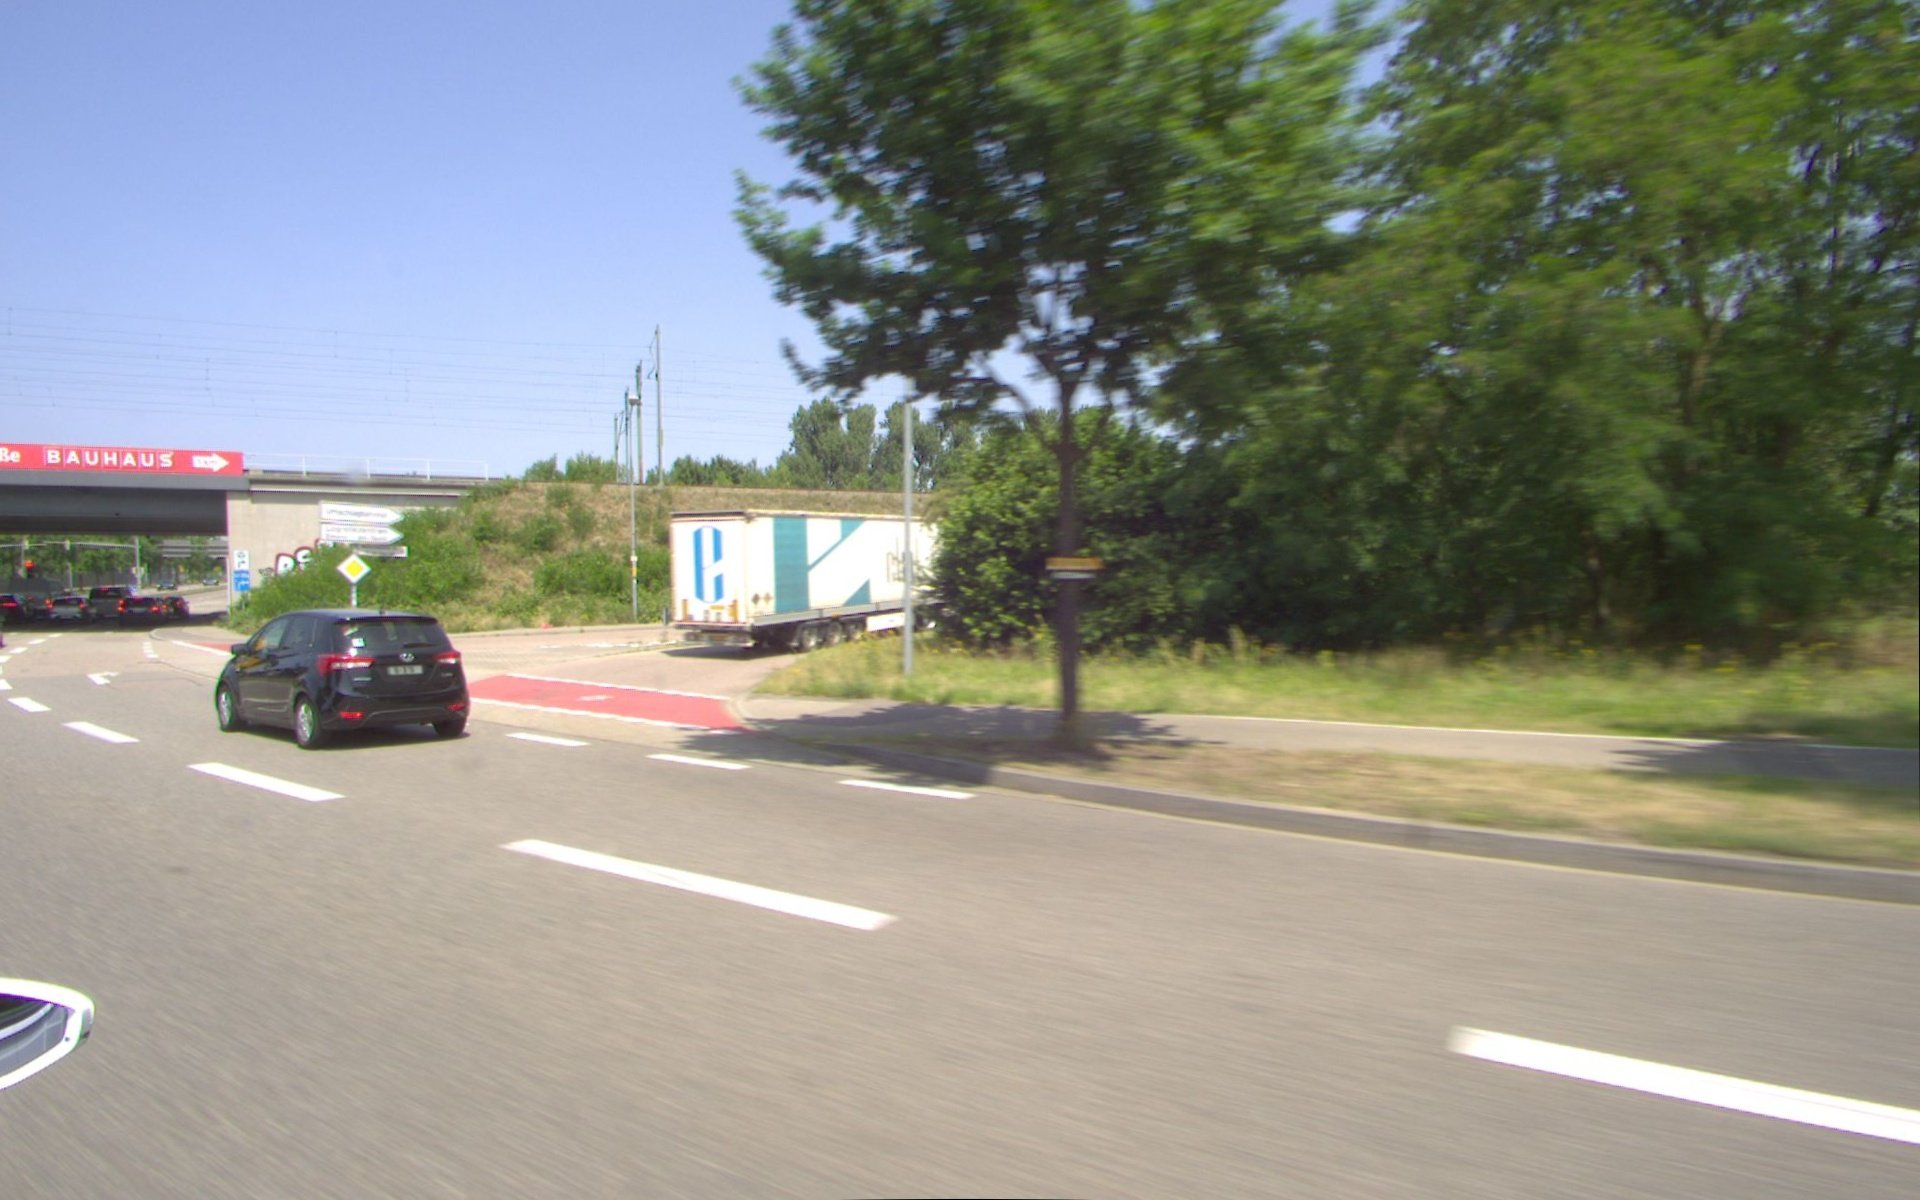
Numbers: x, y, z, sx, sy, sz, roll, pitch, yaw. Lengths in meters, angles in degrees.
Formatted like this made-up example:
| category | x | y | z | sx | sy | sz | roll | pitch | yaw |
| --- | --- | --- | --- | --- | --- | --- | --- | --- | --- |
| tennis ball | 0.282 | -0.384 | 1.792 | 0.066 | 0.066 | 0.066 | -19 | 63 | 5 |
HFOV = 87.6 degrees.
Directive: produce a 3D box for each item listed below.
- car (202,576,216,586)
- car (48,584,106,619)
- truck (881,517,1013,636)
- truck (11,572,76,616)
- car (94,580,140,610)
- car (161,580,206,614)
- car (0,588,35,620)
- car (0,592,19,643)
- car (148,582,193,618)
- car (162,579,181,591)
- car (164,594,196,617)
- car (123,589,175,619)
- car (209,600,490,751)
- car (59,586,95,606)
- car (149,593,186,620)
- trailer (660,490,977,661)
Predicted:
| category | x | y | z | sx | sy | sz | roll | pitch | yaw |
| --- | --- | --- | --- | --- | --- | --- | --- | --- | --- |
| car | -136.600 | -3.461 | 182.121 | 1.836 | 1.644 | 3.973 | 0 | 0 | -35 |
| car | -49.740 | 0.075 | 56.472 | 1.821 | 1.915 | 3.975 | 0 | 0 | -33 |
| truck | -0.396 | -0.989 | 40.607 | 3.034 | 4.429 | 6.057 | 2 | 3 | 24 |
| truck | -56.308 | -0.381 | 61.587 | 2.044 | 2.572 | 3.978 | -2 | 1 | -30 |
| car | -54.765 | -0.304 | 65.122 | 1.822 | 1.915 | 3.974 | 0 | 0 | -34 |
| car | -49.741 | -0.181 | 64.221 | 1.974 | 2.041 | 3.972 | -3 | 2 | -35 |
| car | -52.754 | 0.213 | 55.235 | 1.921 | 1.744 | 3.974 | 0 | 0 | -34 |
| car | -33.030 | 0.552 | 33.433 | 1.940 | 1.655 | 4.246 | 0 | 0 | -38 |
| car | -47.688 | 0.010 | 60.541 | 1.715 | 2.041 | 3.773 | -3 | 2 | -34 |
| car | -114.142 | -2.185 | 144.923 | 1.836 | 1.644 | 3.974 | 0 | 0 | -34 |
| car | -69.111 | 0.472 | 88.762 | 1.974 | 2.040 | 3.973 | -1 | 0 | -34 |
| car | -44.304 | 0.201 | 54.783 | 1.822 | 1.589 | 3.974 | 0 | 0 | -34 |
| car | -7.865 | 0.820 | 12.785 | 4.025 | 1.620 | 1.760 | 1 | 1 | 38 |
| car | -92.248 | -0.420 | 104.654 | 1.970 | 2.041 | 3.979 | -3 | 2 | -29 |
| car | -58.305 | 0.497 | 73.719 | 1.822 | 1.915 | 3.974 | 0 | 0 | -34 |
| trailer | -3.773 | -0.847 | 33.317 | 3.036 | 4.429 | 14.722 | 2 | 2 | 24 |
